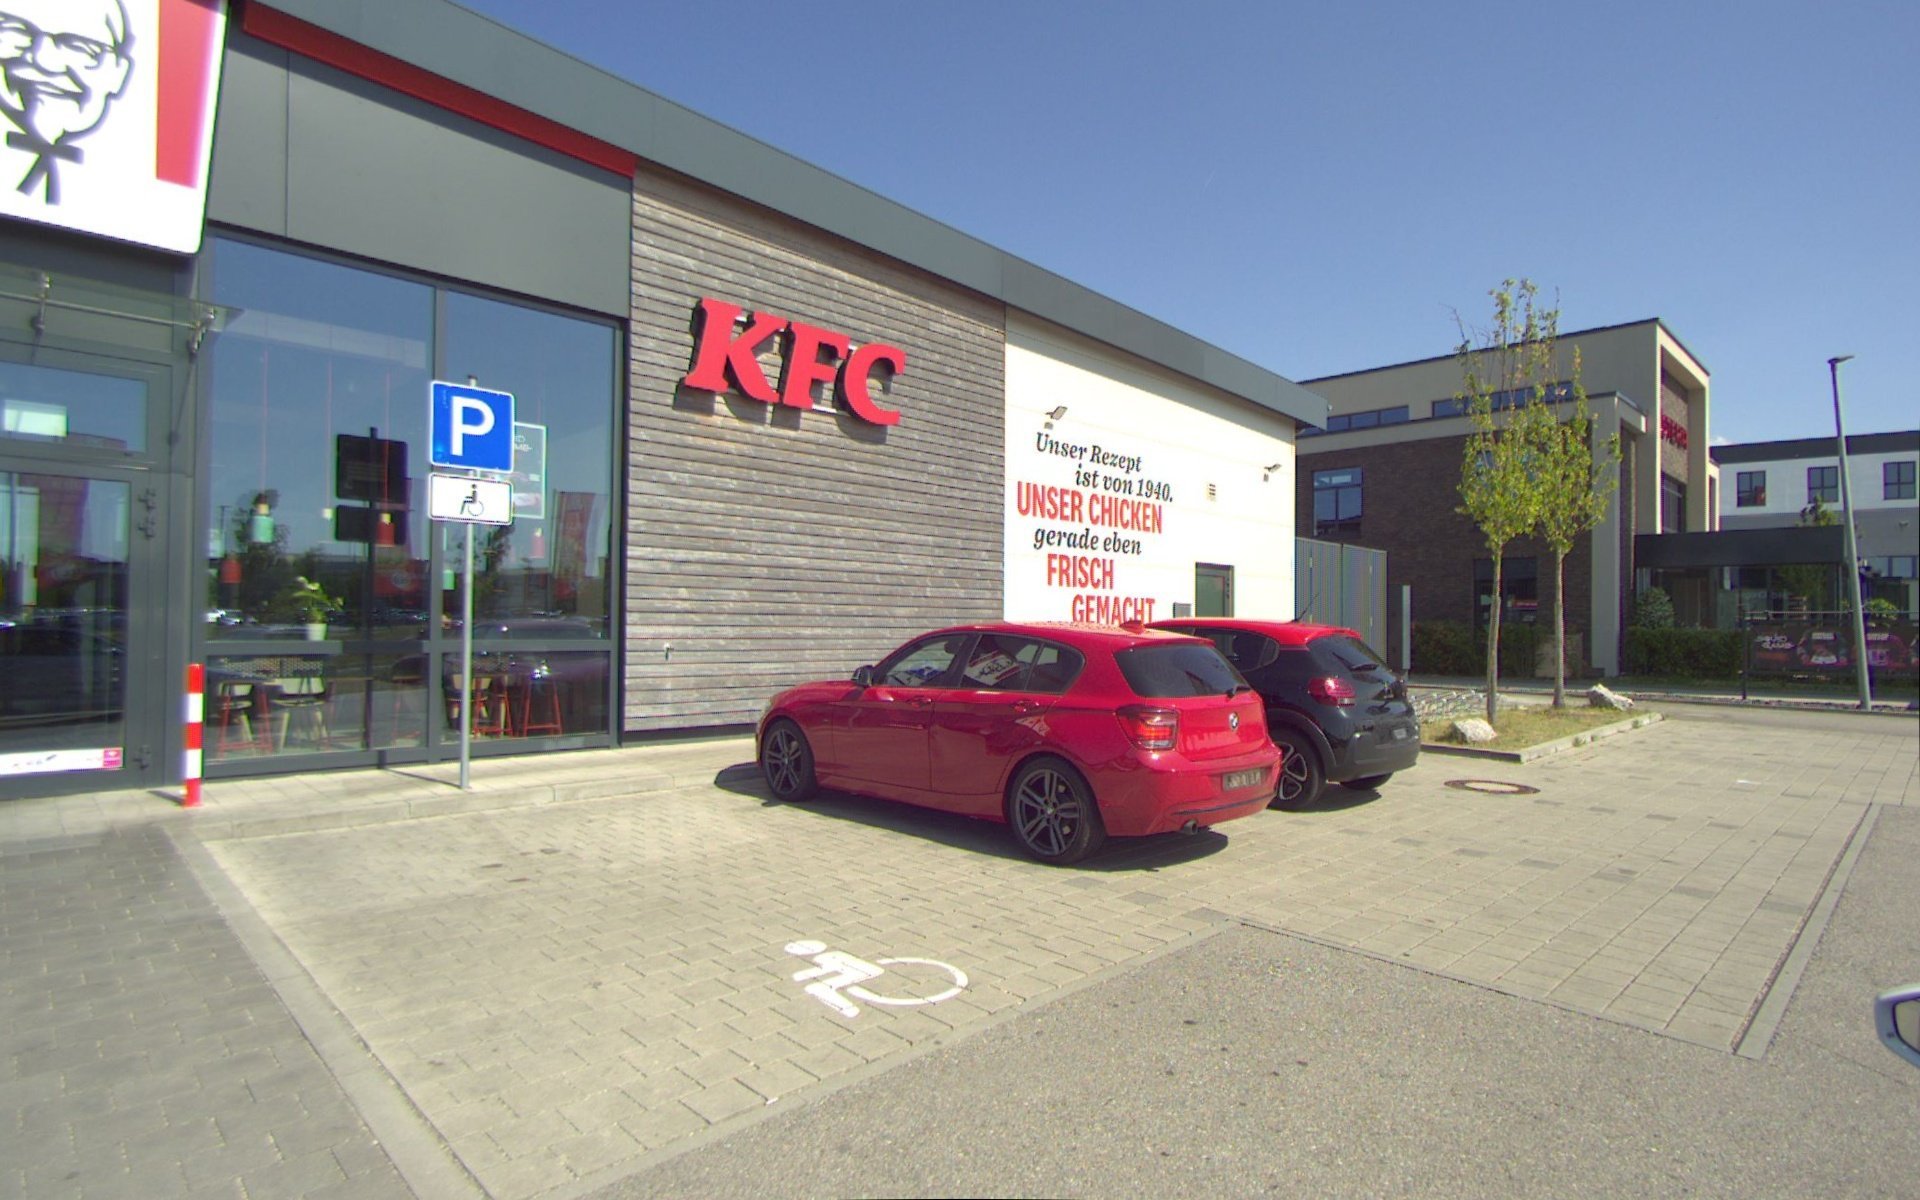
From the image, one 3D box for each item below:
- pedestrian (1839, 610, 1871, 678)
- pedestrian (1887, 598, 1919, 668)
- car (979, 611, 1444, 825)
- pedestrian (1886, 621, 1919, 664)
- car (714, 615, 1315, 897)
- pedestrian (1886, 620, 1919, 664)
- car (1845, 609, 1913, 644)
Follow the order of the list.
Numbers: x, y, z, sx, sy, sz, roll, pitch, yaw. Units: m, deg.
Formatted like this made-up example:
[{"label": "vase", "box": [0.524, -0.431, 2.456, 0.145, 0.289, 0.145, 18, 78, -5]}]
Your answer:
[{"label": "pedestrian", "box": [20.361, 0.986, 22.845, 0.518, 1.525, 0.566, -1, -1, 43]}, {"label": "pedestrian", "box": [20.853, 0.730, 22.195, 0.518, 1.525, 0.566, -1, -1, 43]}, {"label": "car", "box": [2.158, 0.885, 9.306, 1.729, 1.526, 3.856, 1, -1, -45]}, {"label": "pedestrian", "box": [27.644, 1.232, 29.307, 0.606, 1.214, 0.708, 0, -1, -14]}, {"label": "car", "box": [0.146, 0.848, 7.391, 4.340, 1.432, 1.730, 0, -1, 43]}, {"label": "pedestrian", "box": [26.908, 1.188, 28.634, 0.699, 1.214, 0.665, -1, -1, 38]}, {"label": "car", "box": [42.344, 1.202, 46.357, 1.708, 1.507, 3.940, -1, -1, 34]}]
